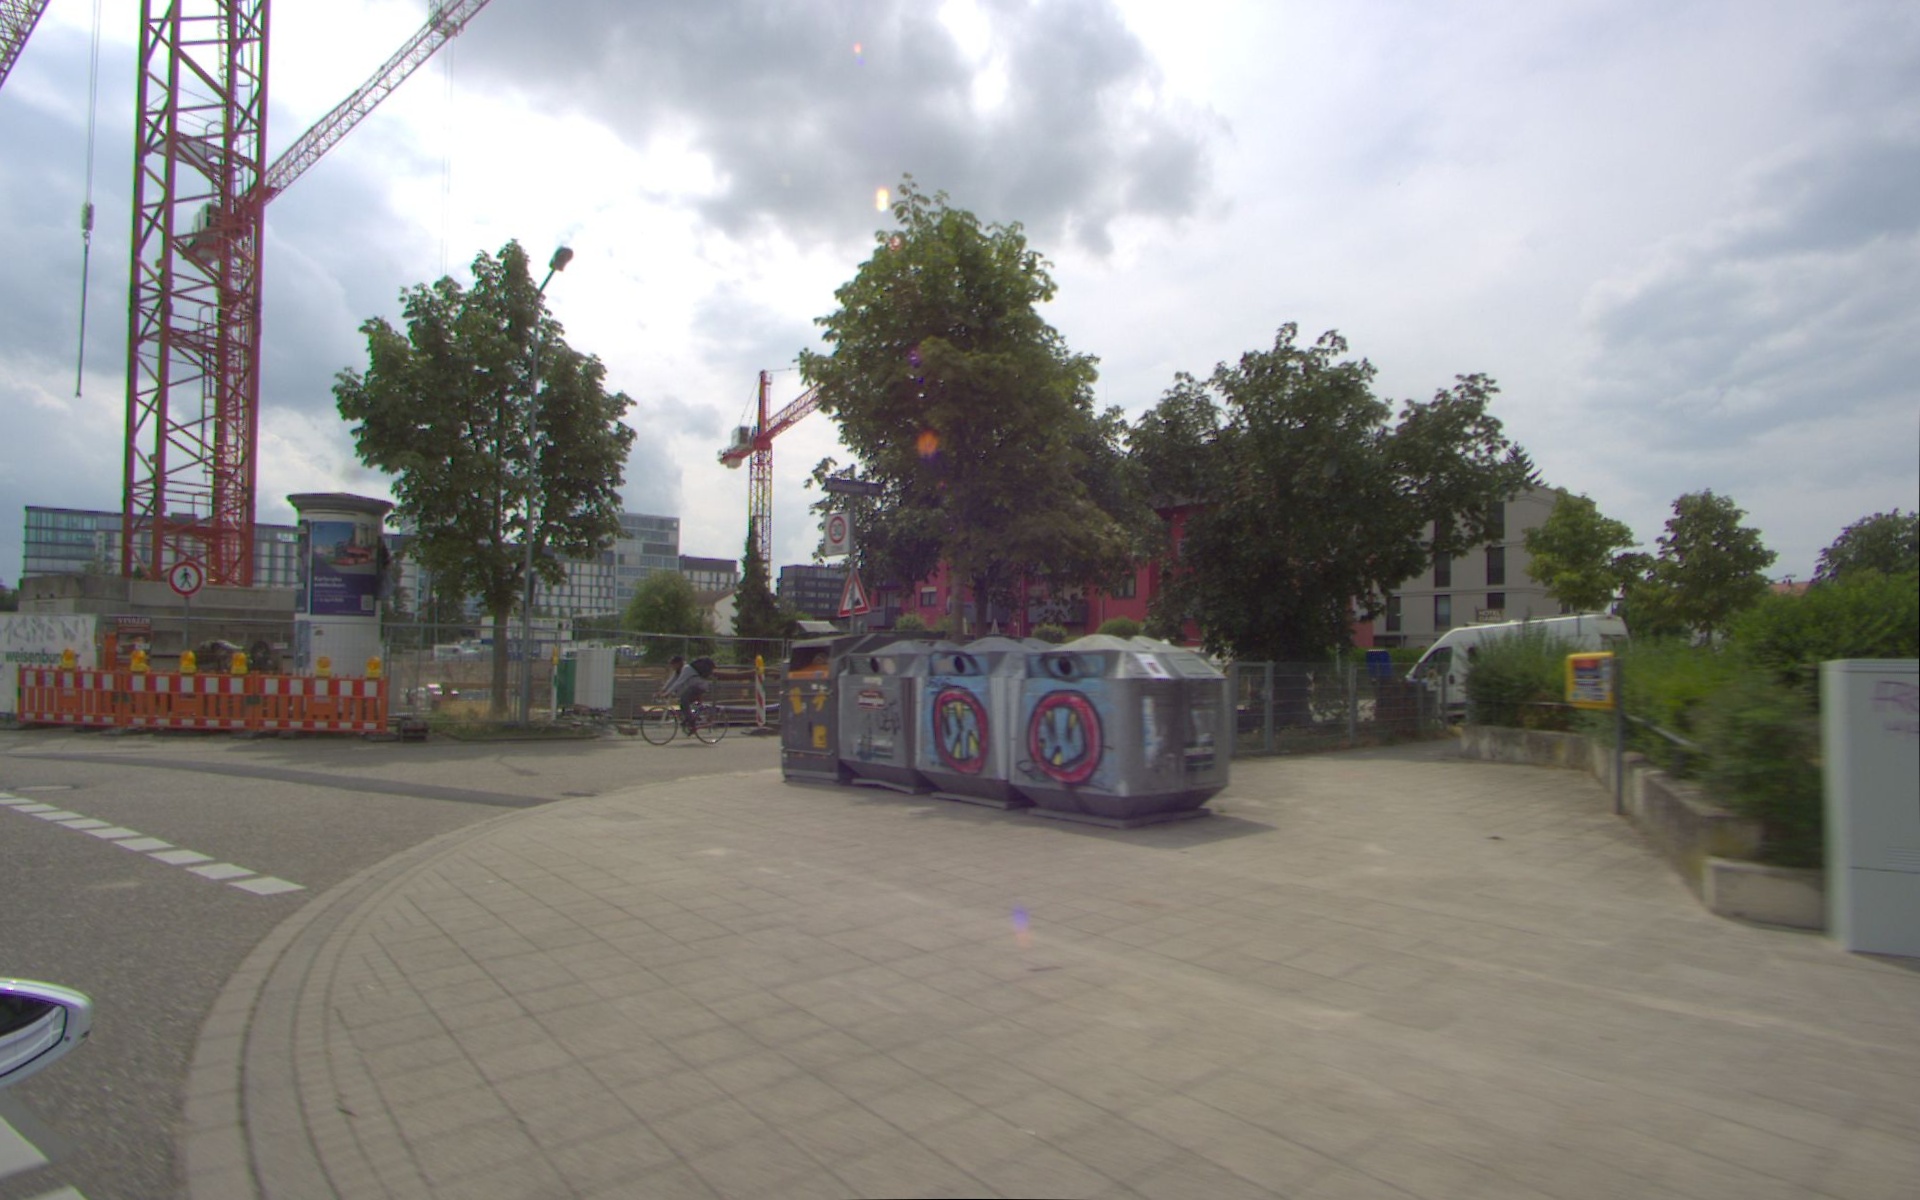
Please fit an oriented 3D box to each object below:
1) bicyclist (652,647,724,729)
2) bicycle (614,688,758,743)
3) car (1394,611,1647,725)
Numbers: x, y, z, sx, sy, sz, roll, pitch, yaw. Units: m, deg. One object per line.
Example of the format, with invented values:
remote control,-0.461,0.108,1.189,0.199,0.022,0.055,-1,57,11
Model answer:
bicyclist,-4.995,1.612,18.386,1.065,1.430,0.712,5,-3,-26
bicycle,-5.011,2.110,18.392,2.442,0.945,0.712,3,-3,-26
car,13.513,1.715,24.507,1.880,2.481,5.072,5,-7,-37
